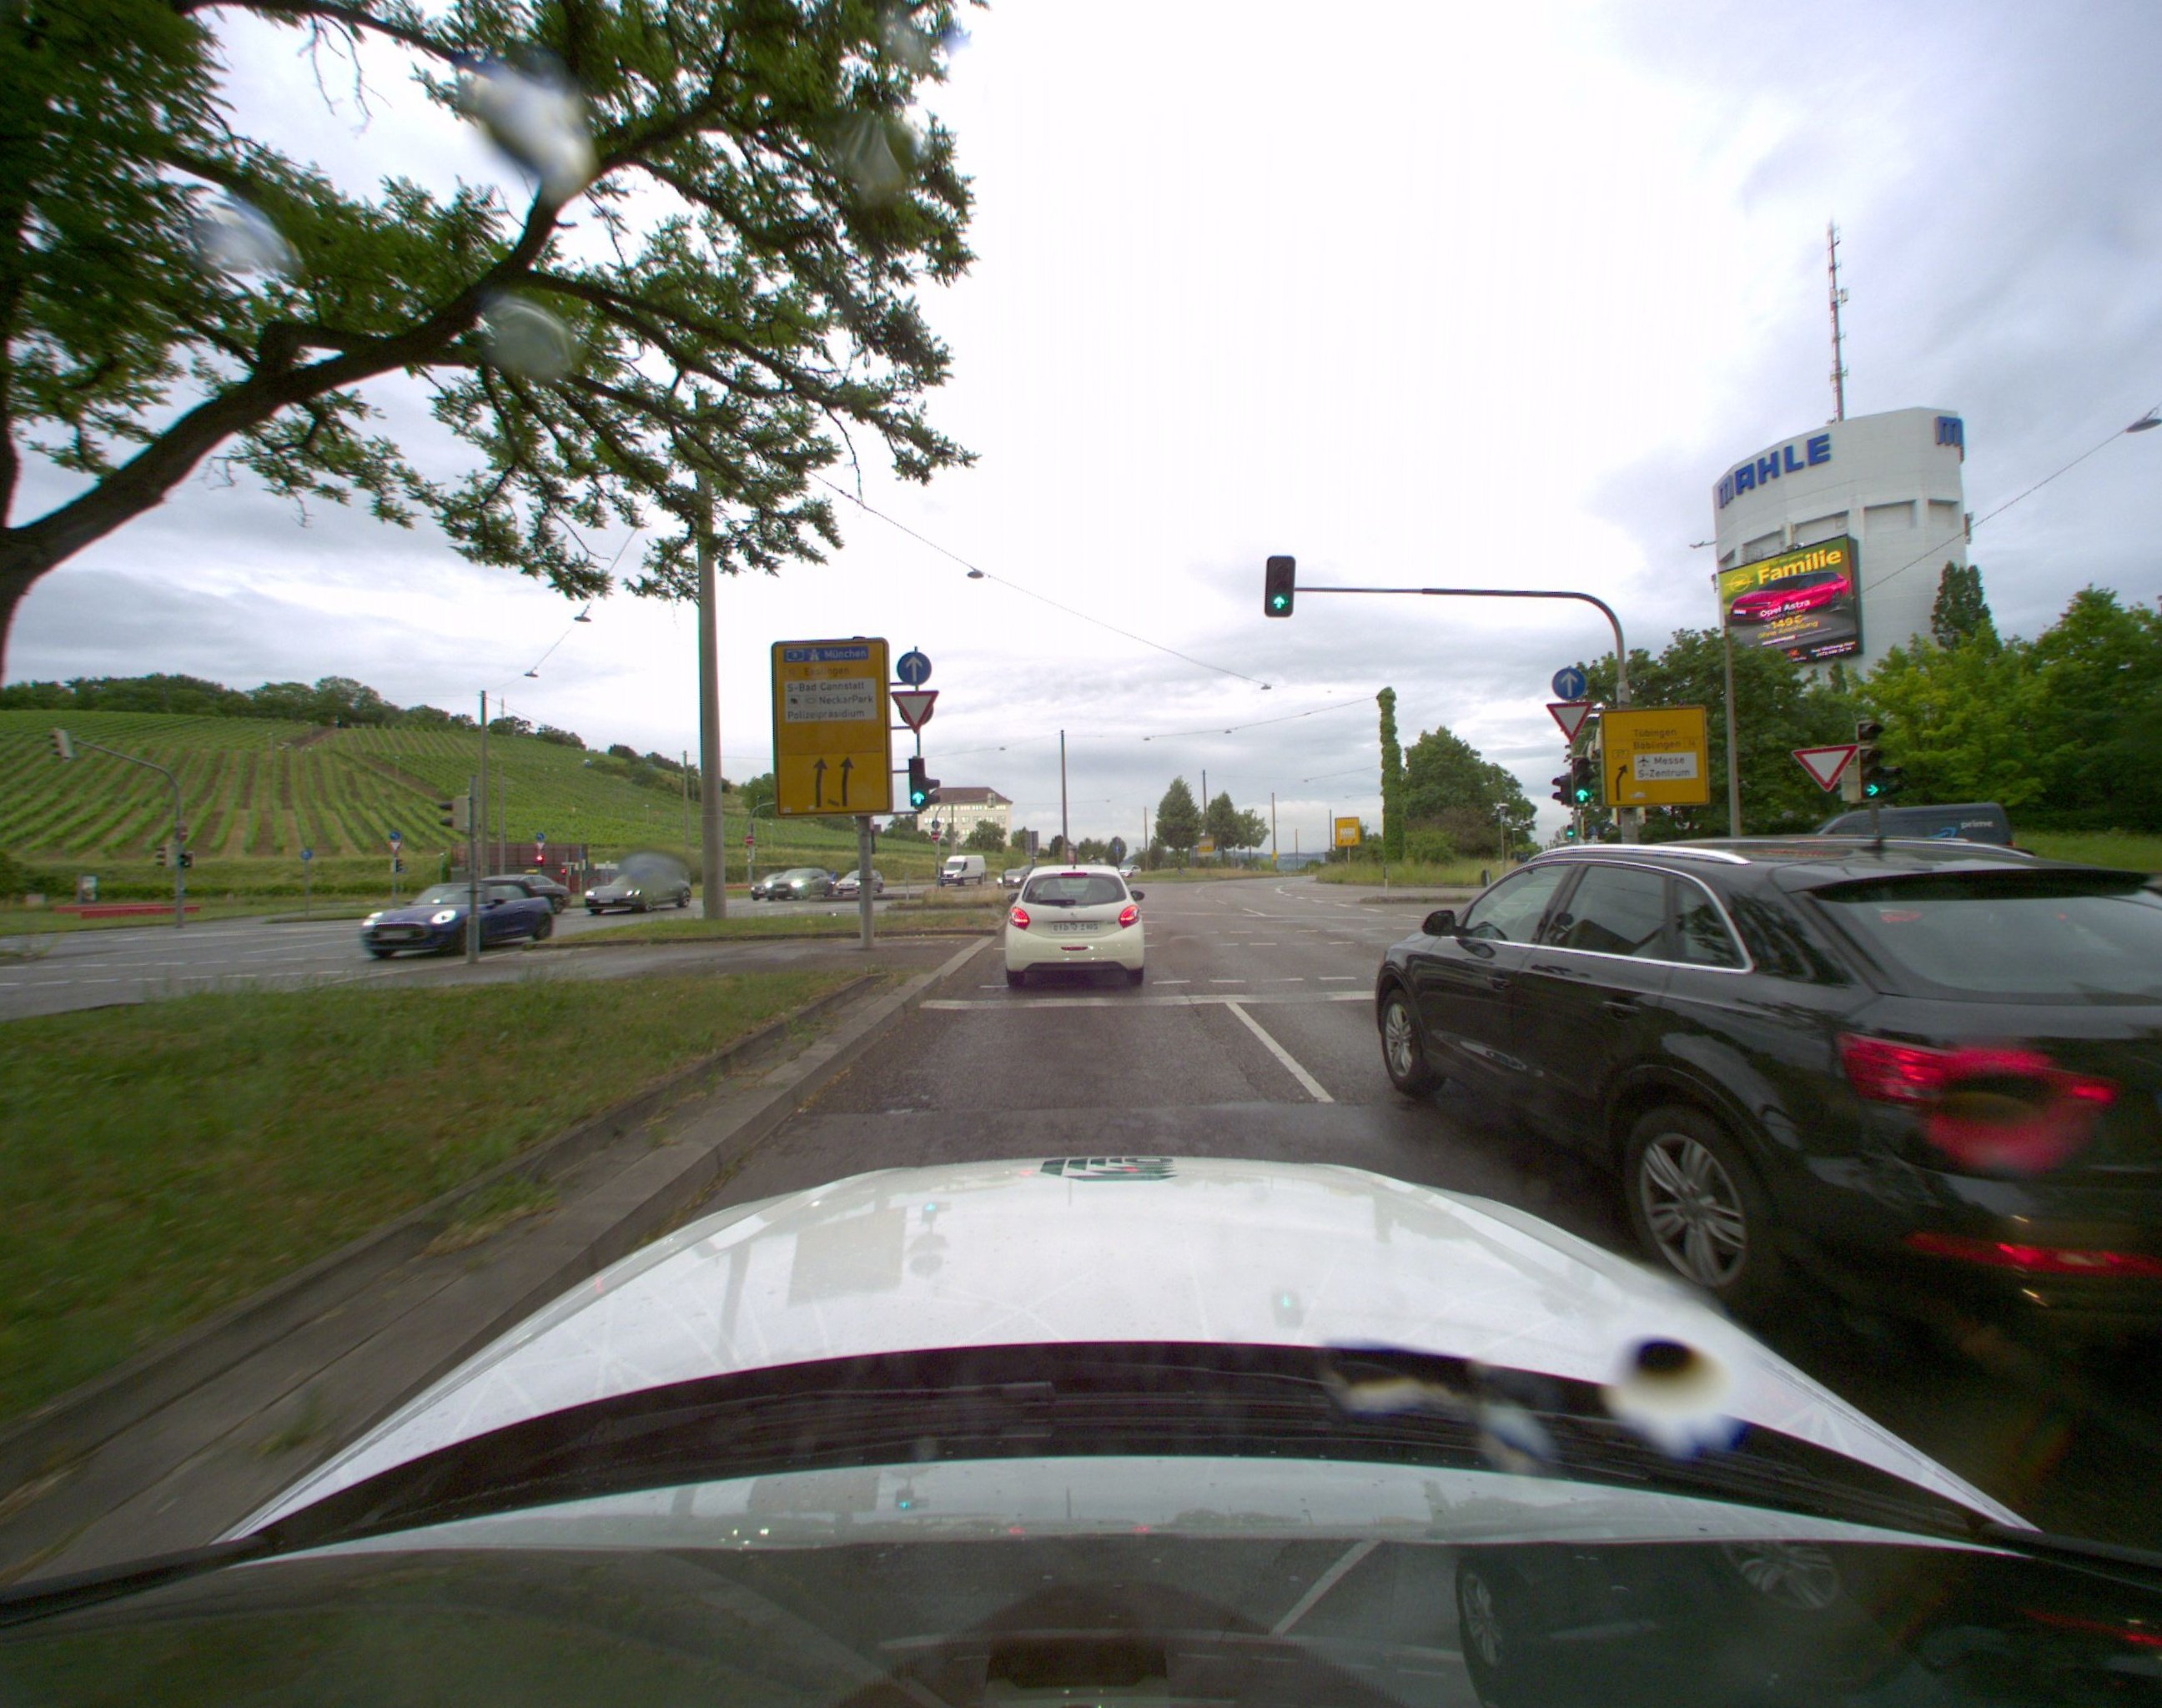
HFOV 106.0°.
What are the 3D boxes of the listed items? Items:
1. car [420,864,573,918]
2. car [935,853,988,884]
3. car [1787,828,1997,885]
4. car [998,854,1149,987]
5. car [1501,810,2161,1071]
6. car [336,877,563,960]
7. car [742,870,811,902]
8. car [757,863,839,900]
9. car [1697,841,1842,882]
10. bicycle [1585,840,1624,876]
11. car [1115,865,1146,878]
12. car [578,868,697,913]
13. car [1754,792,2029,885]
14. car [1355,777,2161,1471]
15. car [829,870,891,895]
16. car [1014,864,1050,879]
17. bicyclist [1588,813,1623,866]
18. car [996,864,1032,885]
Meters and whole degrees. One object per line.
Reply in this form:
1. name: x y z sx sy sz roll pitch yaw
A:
1. car: -19.172 1.172 27.015 1.824 1.624 4.563 0 -1 -2
2. car: -10.391 1.267 71.583 1.977 2.559 6.199 0 -1 19
3. car: 24.102 0.124 24.411 4.012 1.569 1.881 -1 -3 24
4. car: -0.065 0.794 11.352 1.712 1.489 4.000 -1 -1 1
5. car: 6.144 0.551 7.633 1.861 1.674 4.559 -1 0 -4
6. car: -12.827 1.238 16.893 1.782 1.395 3.877 -2 -1 -3
7. car: -16.357 1.693 44.046 1.817 1.472 4.670 -2 0 2
8. car: -13.253 1.253 38.512 1.893 1.489 4.896 -2 0 3
9. car: 27.965 0.344 33.250 4.095 1.564 1.881 -1 -1 22
10. bicycle: 15.966 0.134 24.882 0.801 1.023 2.342 -3 -2 28
11. car: 5.931 2.135 97.587 1.734 1.513 4.025 -1 -1 38
12. car: -16.013 1.277 29.714 1.819 1.363 4.666 -2 0 -1
13. car: 26.081 -0.389 26.601 5.954 2.741 2.093 -1 -2 27
14. car: 2.939 0.656 3.951 1.878 1.596 4.113 0 -1 0
15. car: -14.709 1.849 54.393 1.978 1.576 4.214 0 -1 17
16. car: -5.056 1.860 84.746 1.976 1.513 4.255 0 -1 23
17. bicyclist: 15.951 -0.415 24.785 0.801 1.584 1.029 0 -1 28
18. car: -4.922 1.488 60.014 1.766 1.425 4.381 -2 -1 6
